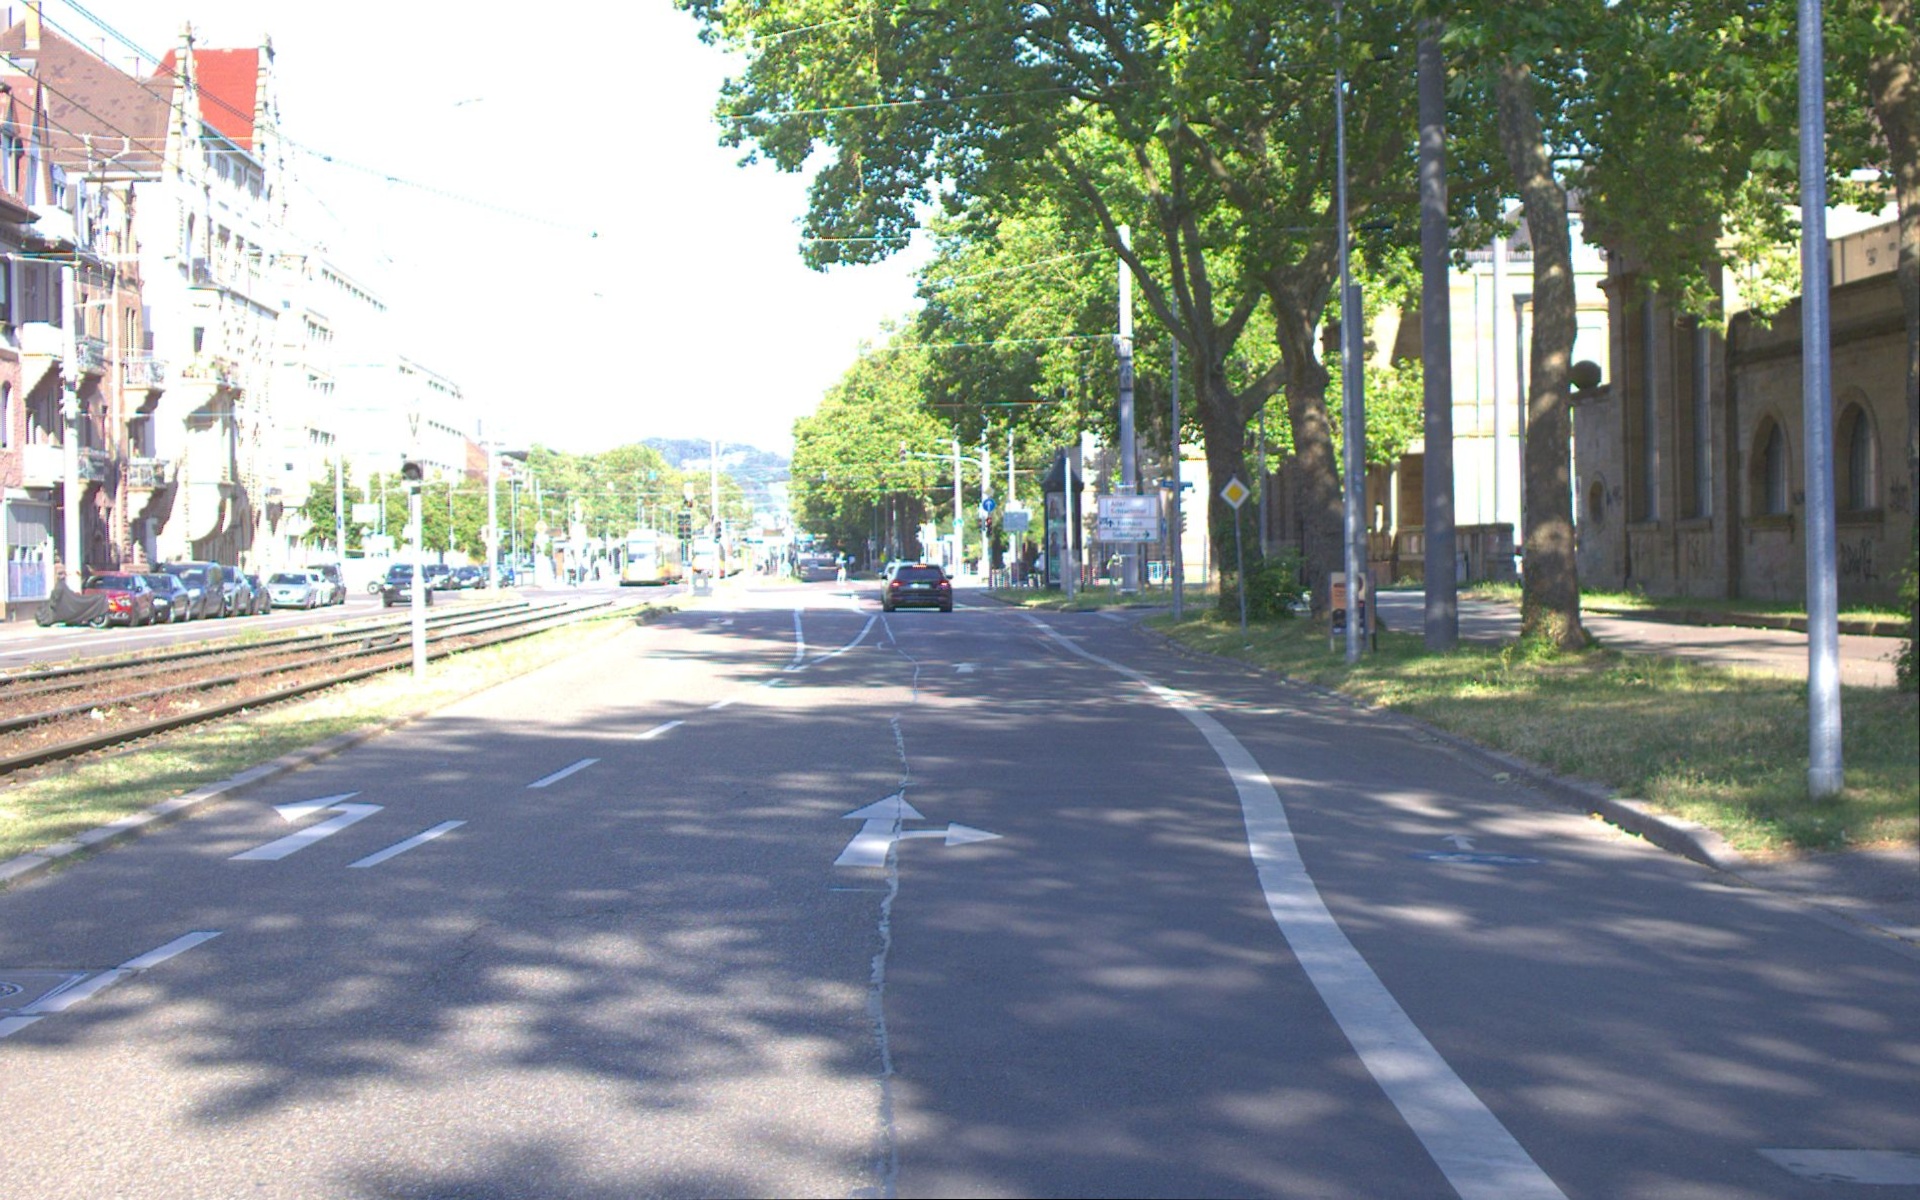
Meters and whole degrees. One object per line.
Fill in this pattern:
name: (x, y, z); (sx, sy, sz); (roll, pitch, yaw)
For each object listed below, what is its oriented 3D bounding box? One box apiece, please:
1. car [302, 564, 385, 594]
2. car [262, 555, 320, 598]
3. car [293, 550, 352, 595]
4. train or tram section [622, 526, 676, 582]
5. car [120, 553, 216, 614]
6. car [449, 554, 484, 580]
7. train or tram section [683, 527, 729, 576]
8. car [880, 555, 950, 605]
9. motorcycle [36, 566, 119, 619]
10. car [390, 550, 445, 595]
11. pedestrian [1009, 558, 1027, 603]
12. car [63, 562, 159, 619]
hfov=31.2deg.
car: (-32.677, -1.112, 182.265); (3.988, 1.505, 1.800); (1, 0, 6)
car: (-25.050, -0.902, 128.867); (1.794, 1.505, 4.001); (2, 1, -7)
car: (-25.918, -1.141, 139.897); (1.794, 1.713, 4.185); (2, 1, -4)
train or tram section: (-19.561, -2.911, 216.604); (2.825, 3.439, 9.065); (-1, 1, -2)
car: (-23.883, -0.524, 103.846); (1.794, 1.748, 4.455); (2, 1, 0)
car: (-29.543, -1.986, 205.805); (1.794, 1.505, 4.001); (-1, 1, -5)
train or tram section: (-18.308, -3.516, 248.301); (2.825, 3.439, 9.065); (-1, 1, -1)
car: (-1.303, -0.597, 98.200); (1.833, 1.386, 4.159); (0, 1, -3)
motorcycle: (-23.618, -0.202, 92.014); (2.067, 1.322, 0.841); (2, 1, -18)
car: (-20.136, -1.030, 127.600); (1.635, 1.596, 4.160); (-2, 1, -4)
pedestrian: (2.305, -0.772, 135.643); (0.588, 1.722, 0.650); (1, 1, 10)
car: (-23.520, -0.286, 95.374); (1.794, 1.455, 4.267); (2, 1, -3)
